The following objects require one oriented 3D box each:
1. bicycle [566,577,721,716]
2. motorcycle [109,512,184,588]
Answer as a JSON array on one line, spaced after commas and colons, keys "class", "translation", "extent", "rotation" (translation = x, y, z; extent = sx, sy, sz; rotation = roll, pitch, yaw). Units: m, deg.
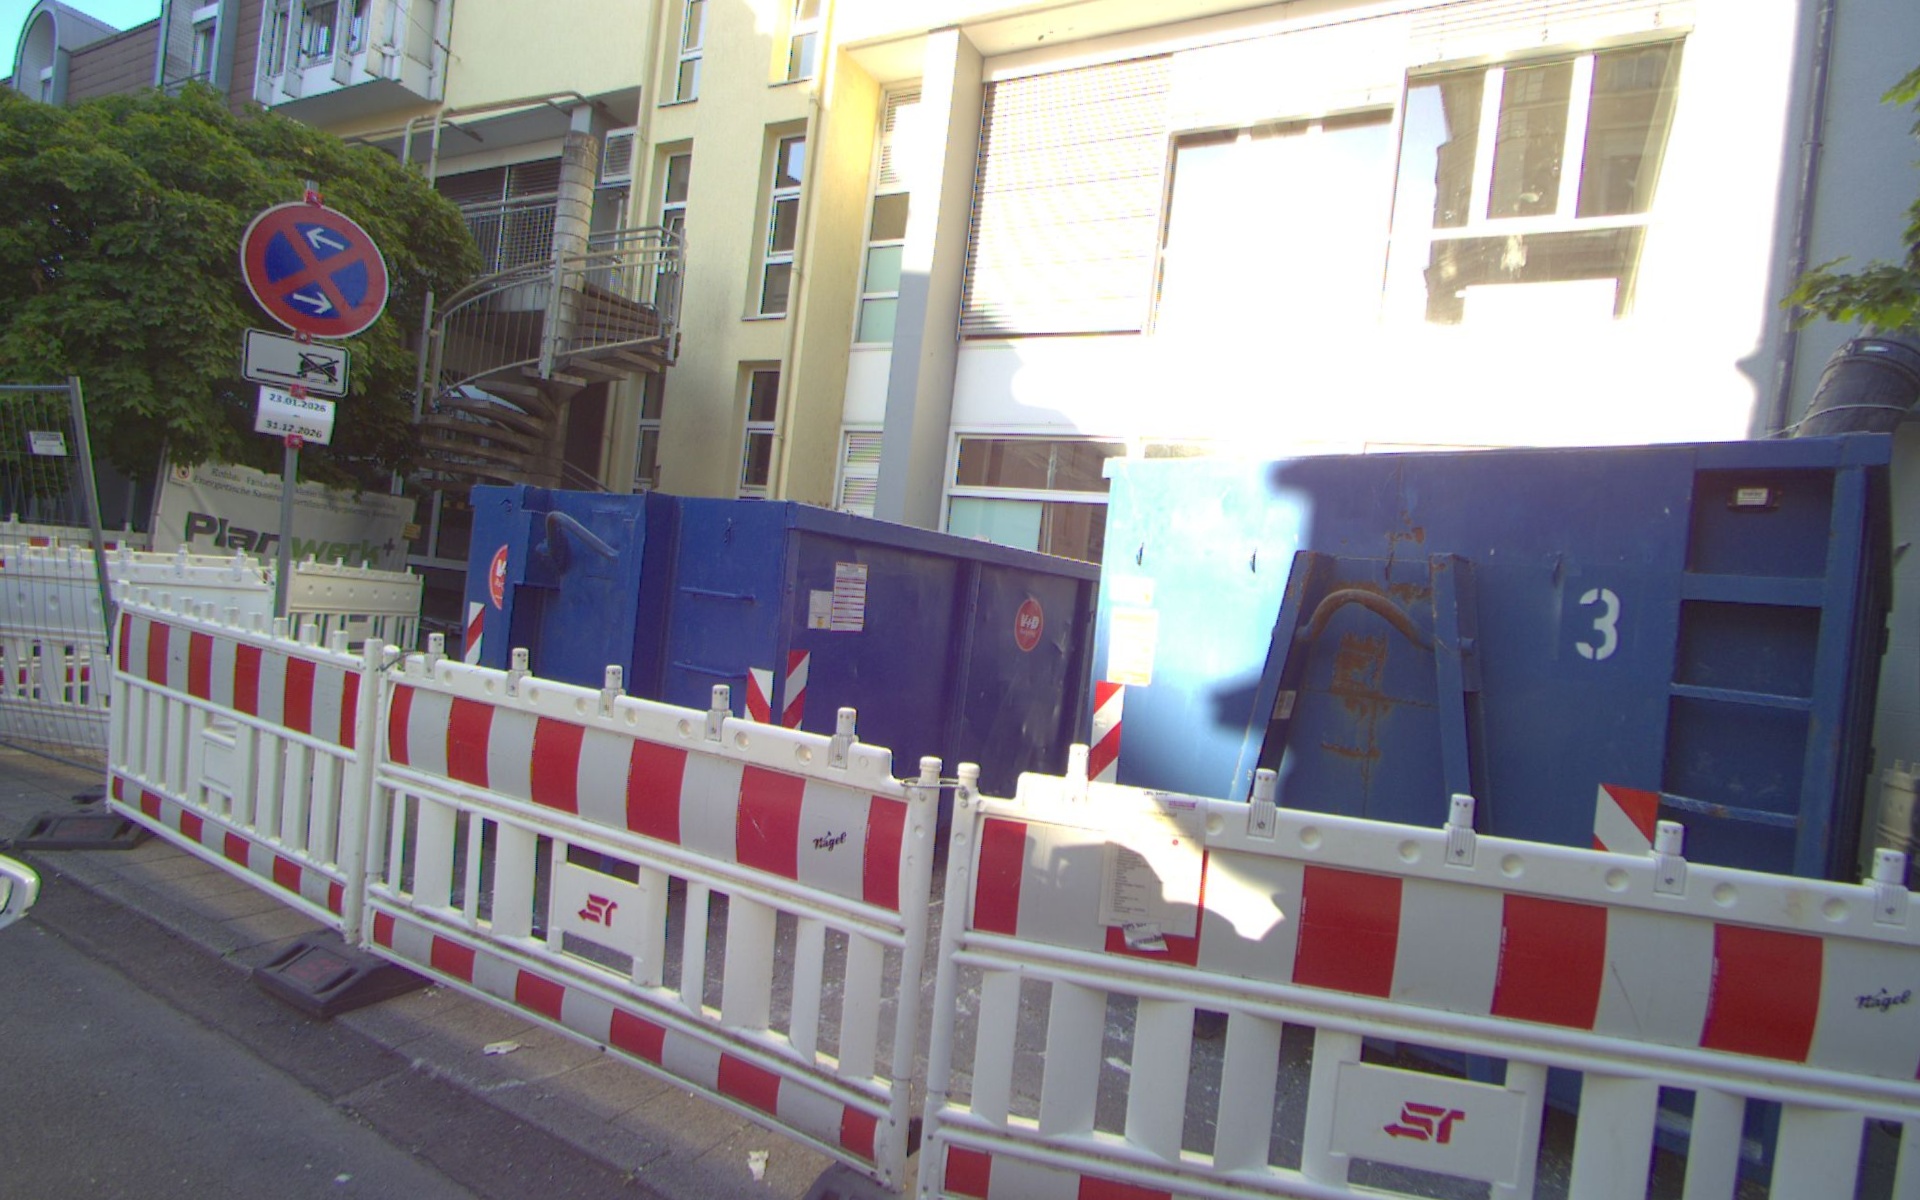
[{"class": "bicycle", "translation": [-3.231, 0.506, 10.454], "extent": [0.539, 1.282, 1.652], "rotation": [7, -2, 18]}, {"class": "motorcycle", "translation": [-15.262, -0.952, 18.837], "extent": [0.866, 1.237, 2.428], "rotation": [6, 0, -43]}]
